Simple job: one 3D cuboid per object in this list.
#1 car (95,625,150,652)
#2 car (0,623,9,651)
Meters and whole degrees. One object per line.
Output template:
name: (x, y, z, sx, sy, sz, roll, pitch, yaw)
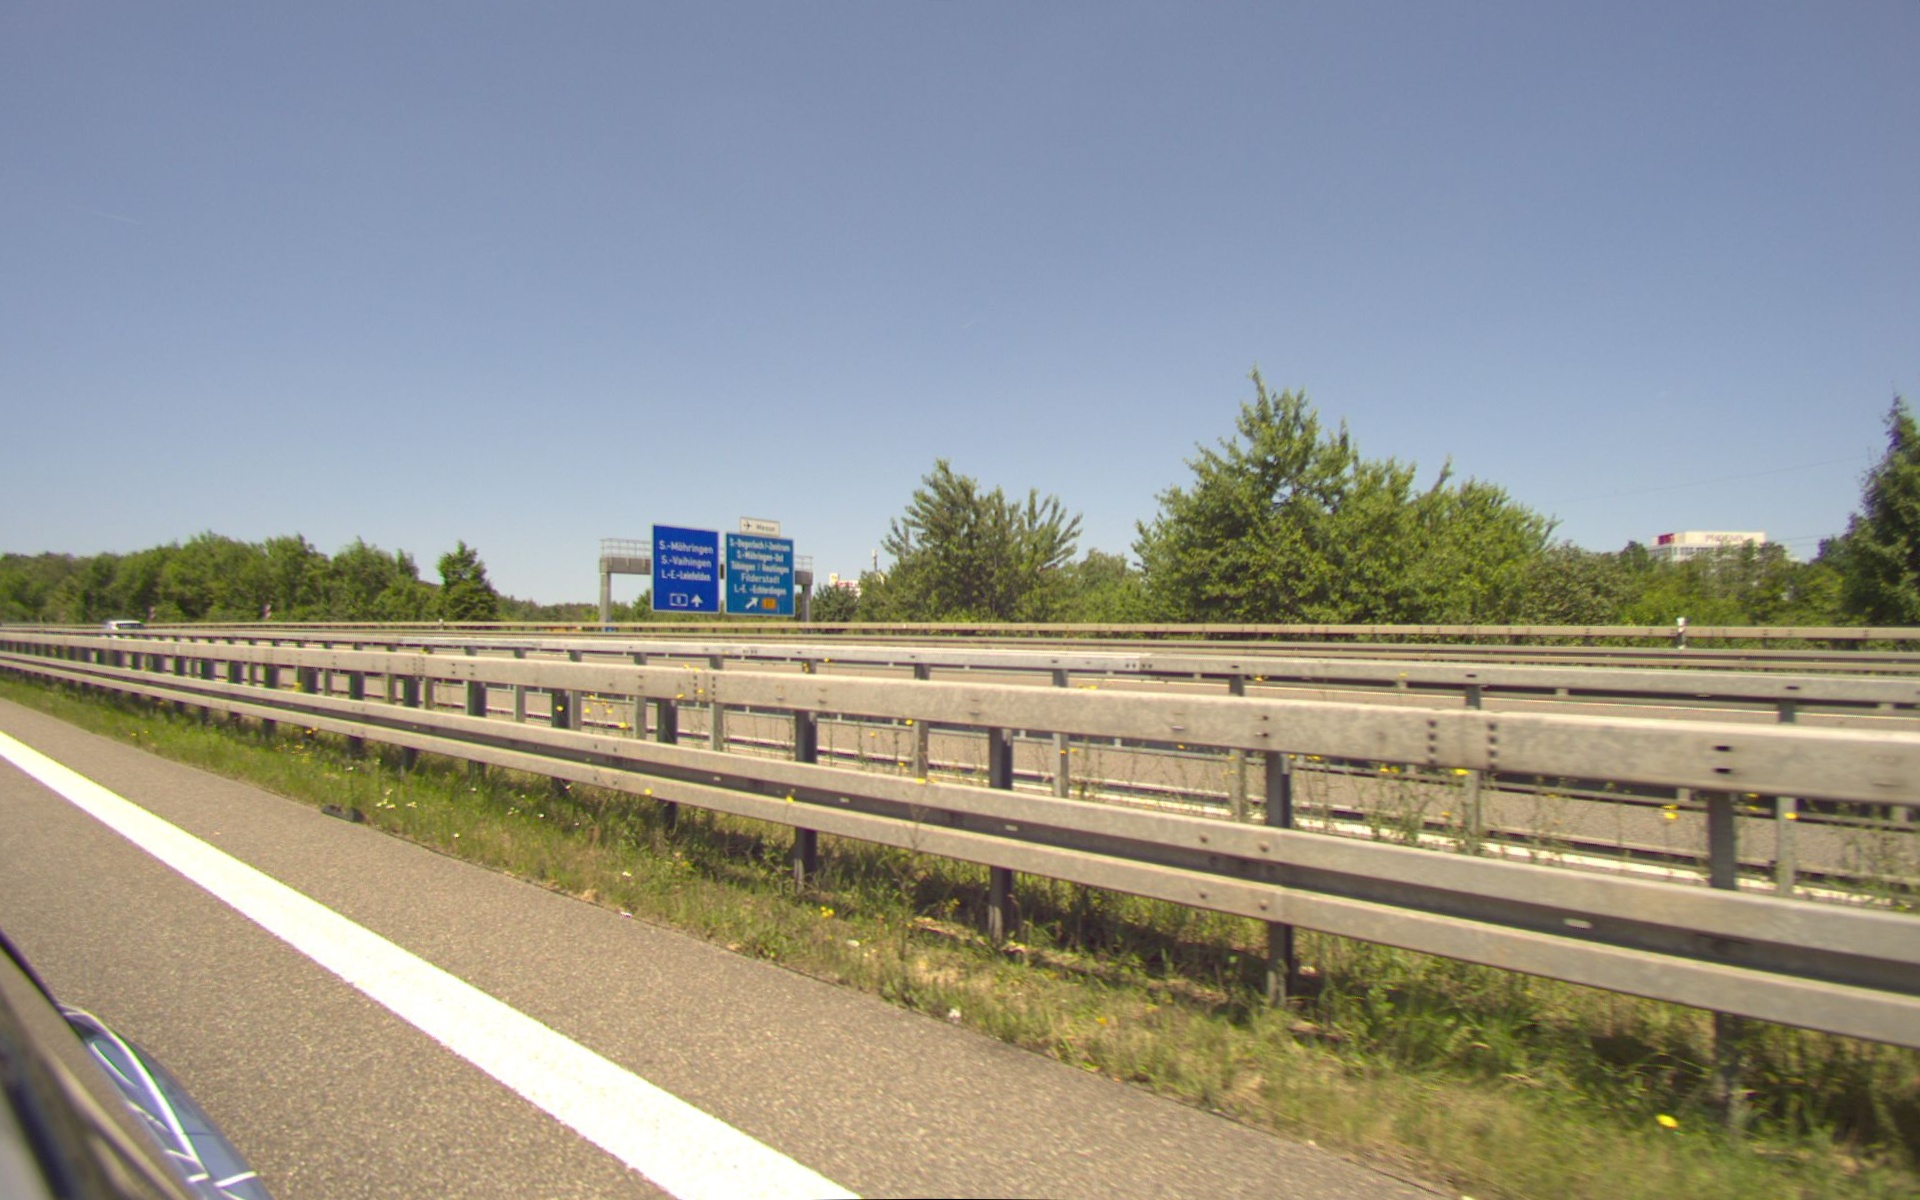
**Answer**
car: (-45.031, 2.057, 54.383, 4.097, 1.395, 1.730, -1, -1, 42)
car: (-57.392, 2.182, 59.450, 4.687, 1.598, 1.731, -1, -1, 40)
